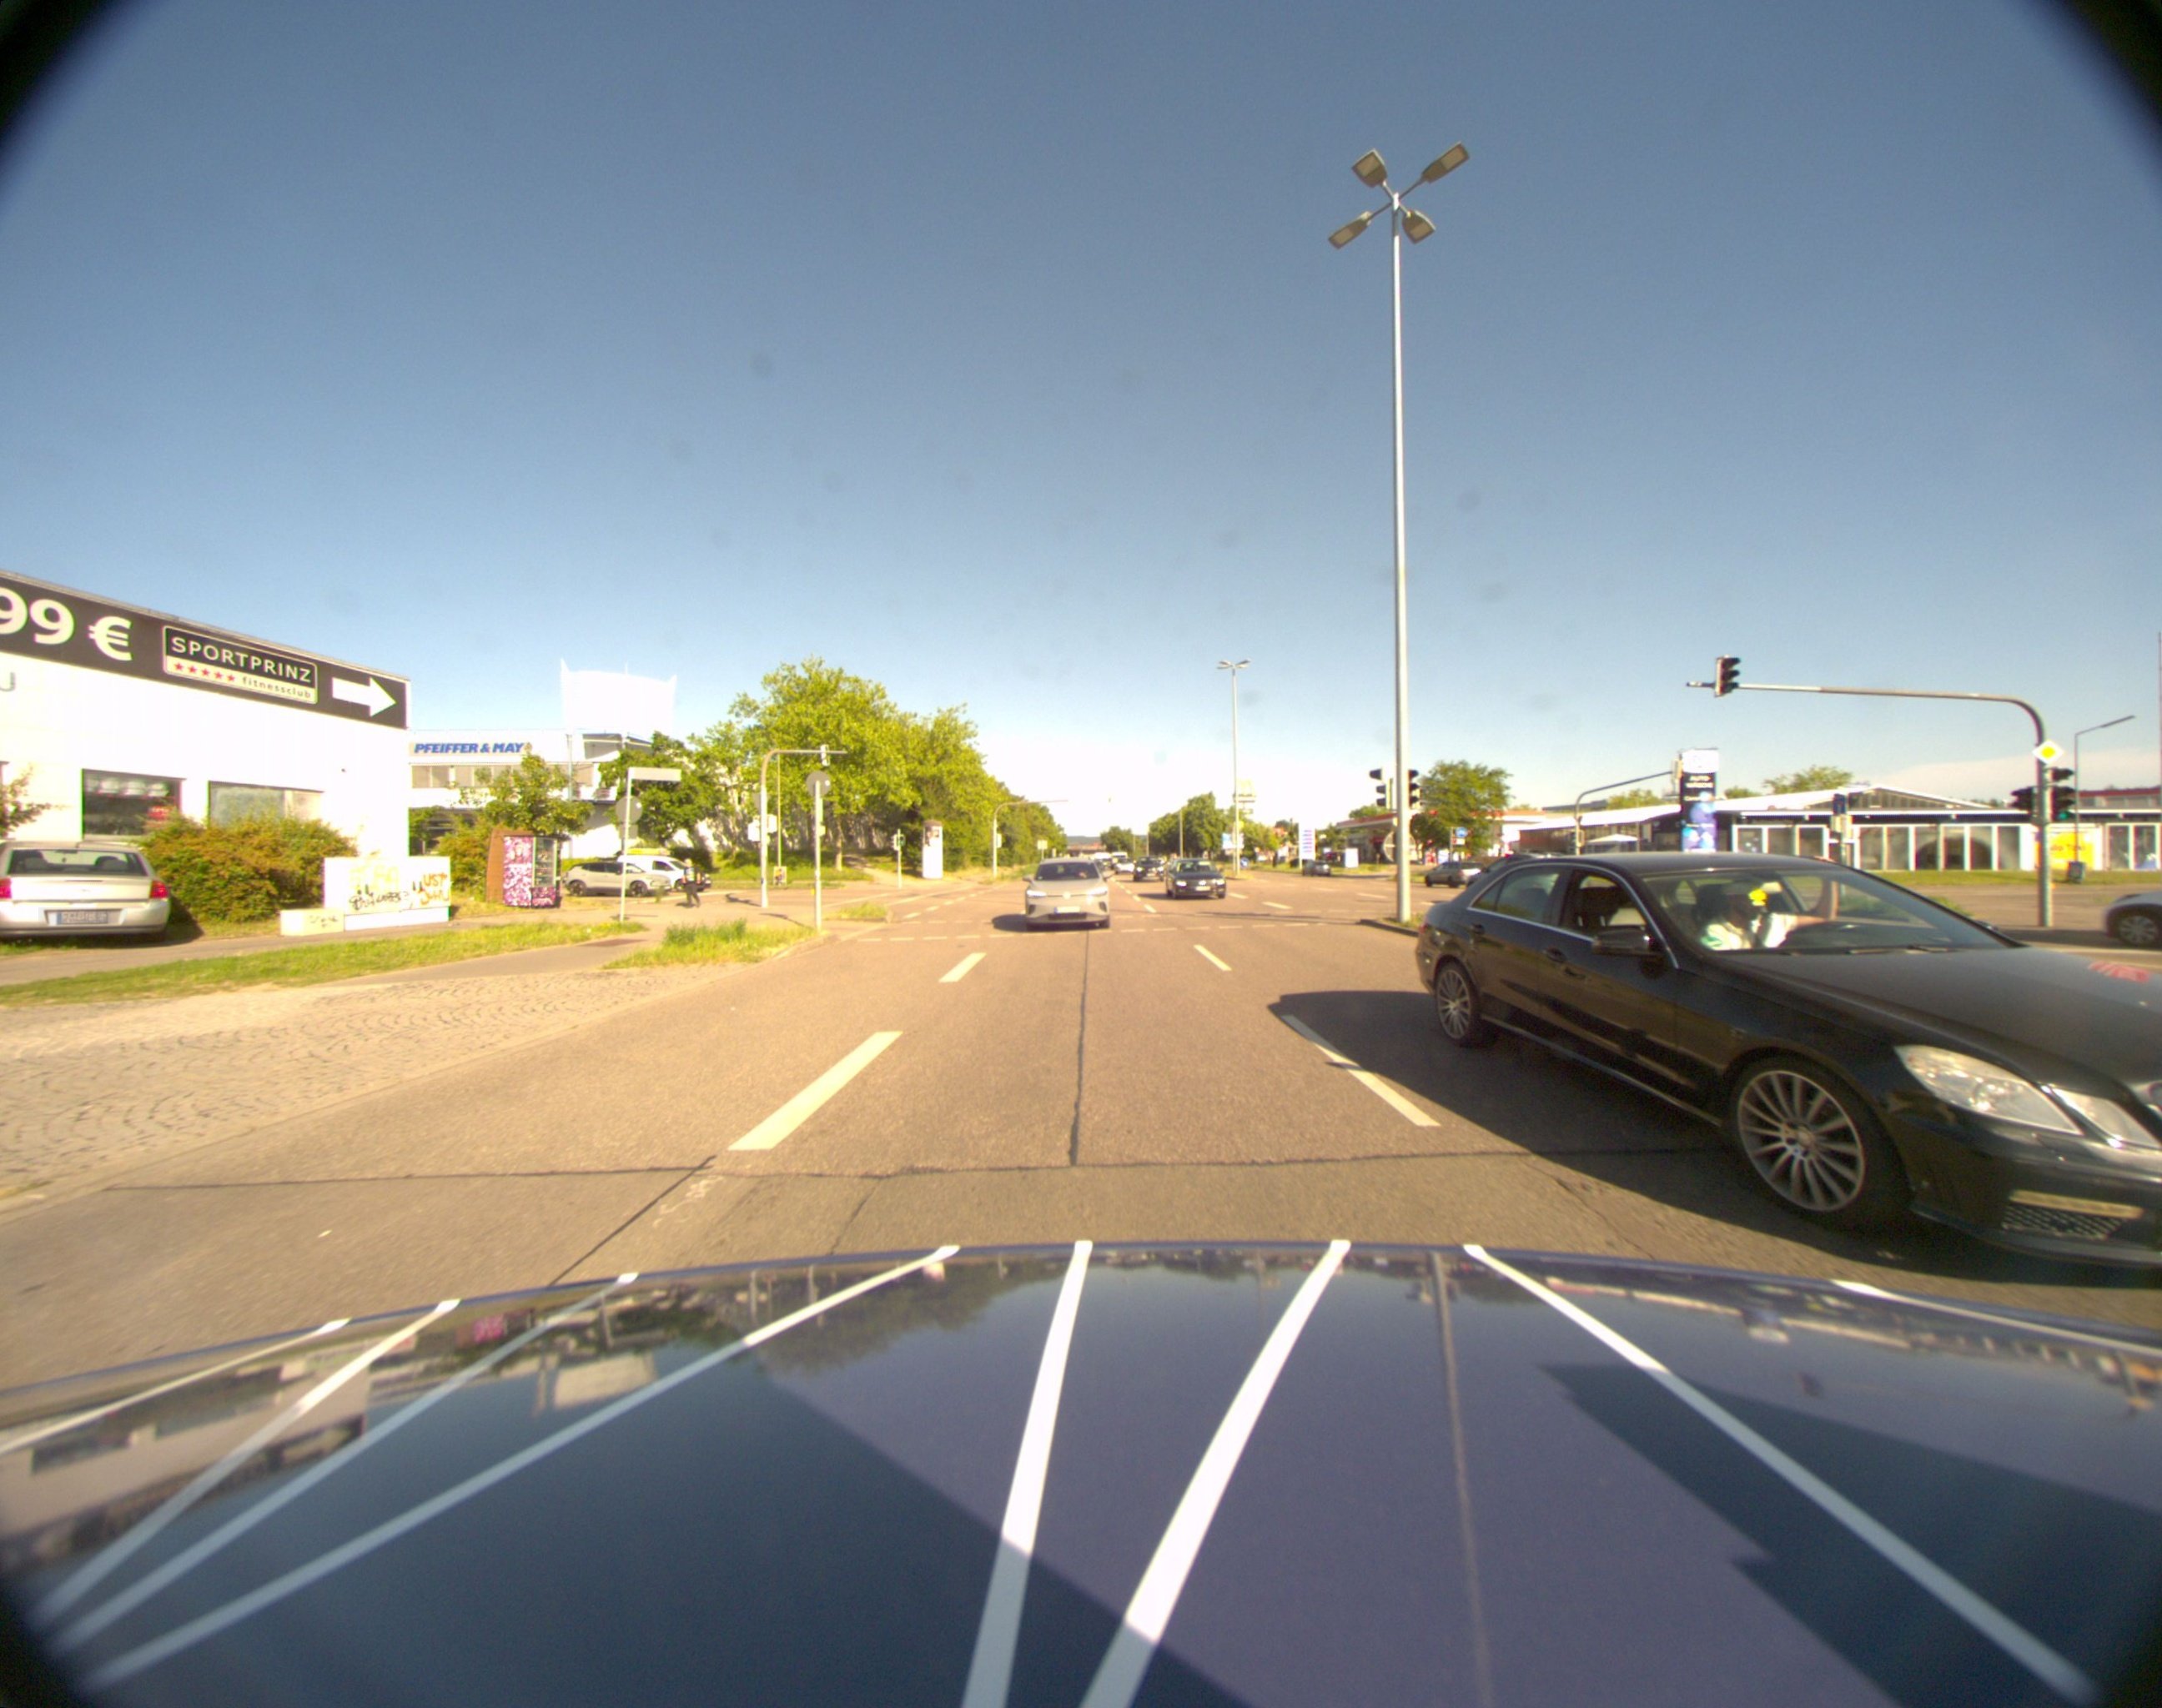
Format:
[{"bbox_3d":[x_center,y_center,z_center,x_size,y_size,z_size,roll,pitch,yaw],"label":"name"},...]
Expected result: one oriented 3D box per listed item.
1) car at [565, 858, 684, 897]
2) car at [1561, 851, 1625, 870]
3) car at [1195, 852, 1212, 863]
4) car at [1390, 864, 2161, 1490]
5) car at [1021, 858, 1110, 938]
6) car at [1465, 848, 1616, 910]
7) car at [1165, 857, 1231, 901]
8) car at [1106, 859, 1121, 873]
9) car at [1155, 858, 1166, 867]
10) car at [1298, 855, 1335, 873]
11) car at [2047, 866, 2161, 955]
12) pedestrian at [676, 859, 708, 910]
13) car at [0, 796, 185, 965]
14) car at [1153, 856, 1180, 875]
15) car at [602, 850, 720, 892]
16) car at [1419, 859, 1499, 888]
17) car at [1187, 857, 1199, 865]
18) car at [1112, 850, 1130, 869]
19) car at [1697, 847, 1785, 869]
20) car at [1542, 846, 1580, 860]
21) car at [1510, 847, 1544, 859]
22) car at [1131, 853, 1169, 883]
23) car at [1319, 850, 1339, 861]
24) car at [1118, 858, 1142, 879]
[{"bbox_3d":[-20.102,1.016,33.567,4.100,1.636,1.901,0,2,1],"label":"car"},{"bbox_3d":[37.804,0.468,56.205,1.900,1.317,4.119,1,0,-1],"label":"car"},{"bbox_3d":[17.997,0.479,111.805,1.900,1.590,4.267,1,0,1],"label":"car"},{"bbox_3d":[3.726,0.854,4.364,1.964,1.474,4.918,-1,0,1],"label":"car"},{"bbox_3d":[-0.279,0.929,18.100,1.848,1.615,4.265,-1,0,1],"label":"car"},{"bbox_3d":[13.270,0.658,22.285,1.879,1.632,4.170,1,0,1],"label":"car"},{"bbox_3d":[4.250,0.881,28.246,1.848,1.445,4.265,-1,0,1],"label":"car"},{"bbox_3d":[4.753,1.729,110.863,1.998,2.002,4.000,-2,0,1],"label":"car"},{"bbox_3d":[14.274,1.523,136.447,1.699,1.424,3.664,1,0,1],"label":"car"},{"bbox_3d":[20.540,0.859,66.501,1.998,1.516,4.196,0,0,1],"label":"car"},{"bbox_3d":[19.371,0.977,12.359,1.998,1.465,4.196,0,0,1],"label":"car"},{"bbox_3d":[-13.272,1.030,25.960,0.759,1.706,0.617,0,1,1],"label":"pedestrian"},{"bbox_3d":[-15.439,0.301,11.584,3.986,2.002,1.690,7,1,33],"label":"car"},{"bbox_3d":[6.978,0.935,62.400,1.790,1.447,4.116,0,0,1],"label":"car"},{"bbox_3d":[-20.339,0.818,36.931,4.692,1.923,1.872,-1,1,1],"label":"car"},{"bbox_3d":[20.065,0.995,40.568,1.998,1.368,4.623,0,0,1],"label":"car"},{"bbox_3d":[21.834,1.319,147.852,1.699,1.424,4.458,1,0,1],"label":"car"},{"bbox_3d":[5.078,0.663,97.583,2.089,2.229,4.000,-2,0,1],"label":"car"},{"bbox_3d":[43.821,0.251,50.513,4.116,1.424,1.901,1,1,1],"label":"car"},{"bbox_3d":[57.083,-0.094,90.455,1.900,1.581,4.119,0,0,0],"label":"car"},{"bbox_3d":[56.901,-0.129,97.002,1.772,1.432,4.119,0,0,-1],"label":"car"},{"bbox_3d":[4.311,0.847,48.434,1.998,1.674,4.696,-2,0,1],"label":"car"},{"bbox_3d":[38.519,0.184,118.158,1.762,1.604,4.119,1,0,-1],"label":"car"},{"bbox_3d":[4.546,1.309,70.929,1.998,1.779,4.270,-2,0,1],"label":"car"}]
